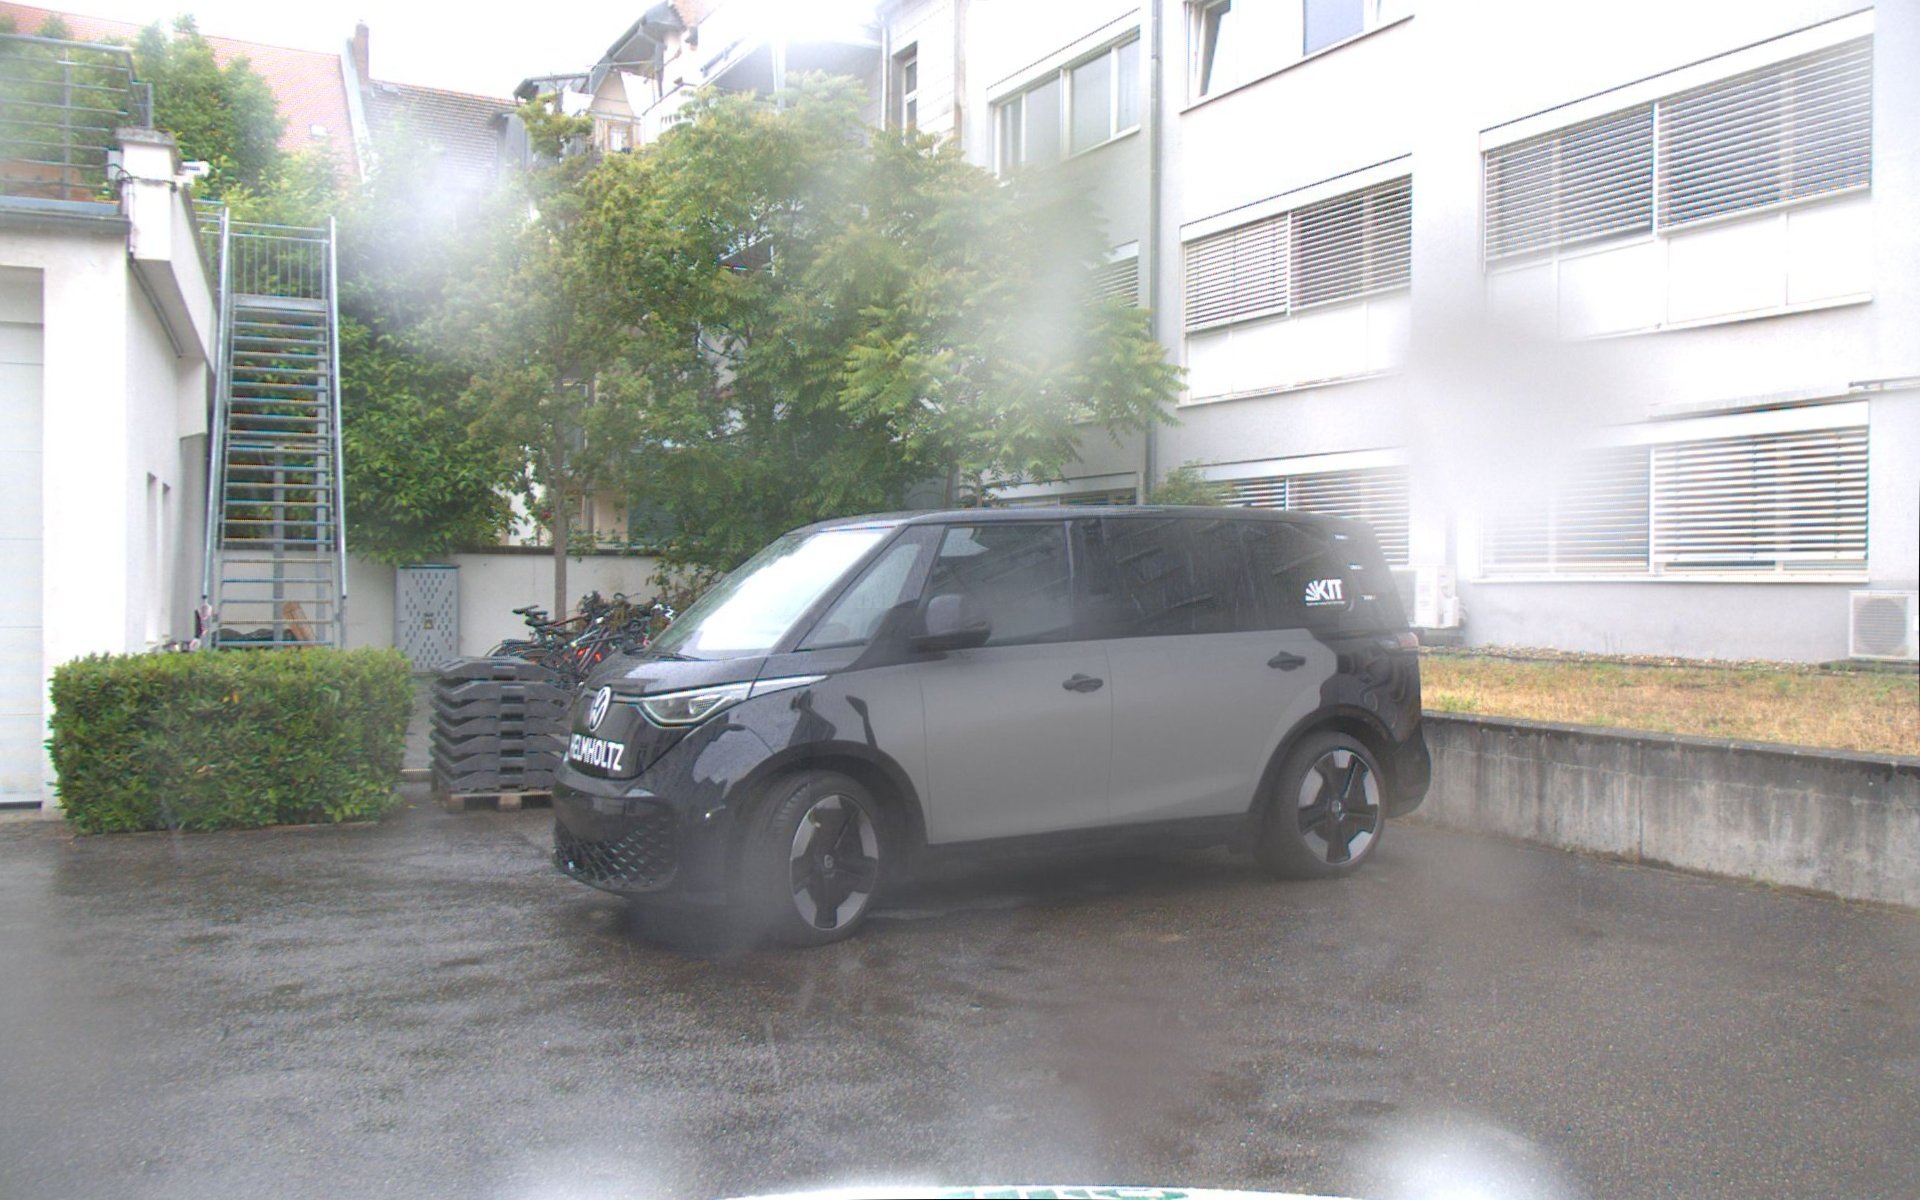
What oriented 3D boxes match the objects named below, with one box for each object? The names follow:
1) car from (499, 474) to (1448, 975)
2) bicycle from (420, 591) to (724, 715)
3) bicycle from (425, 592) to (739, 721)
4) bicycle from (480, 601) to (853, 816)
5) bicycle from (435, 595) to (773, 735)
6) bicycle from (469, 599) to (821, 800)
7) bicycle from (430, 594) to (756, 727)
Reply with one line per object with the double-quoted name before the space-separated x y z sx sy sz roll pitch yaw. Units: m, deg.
"car" 0.151 0.467 8.412 4.462 1.930 2.025 0 0 -31
"bicycle" -4.183 0.546 17.995 3.174 1.263 0.626 0 0 -26
"bicycle" -3.935 0.561 17.396 3.174 1.263 0.626 0 0 -26
"bicycle" -2.530 0.890 14.516 3.174 1.732 0.626 0 0 -26
"bicycle" -3.431 0.592 16.128 3.174 1.263 0.626 0 0 -26
"bicycle" -2.891 0.869 15.393 3.174 1.732 0.626 0 0 -26
"bicycle" -3.684 0.576 16.776 3.174 1.263 0.626 0 0 -26
